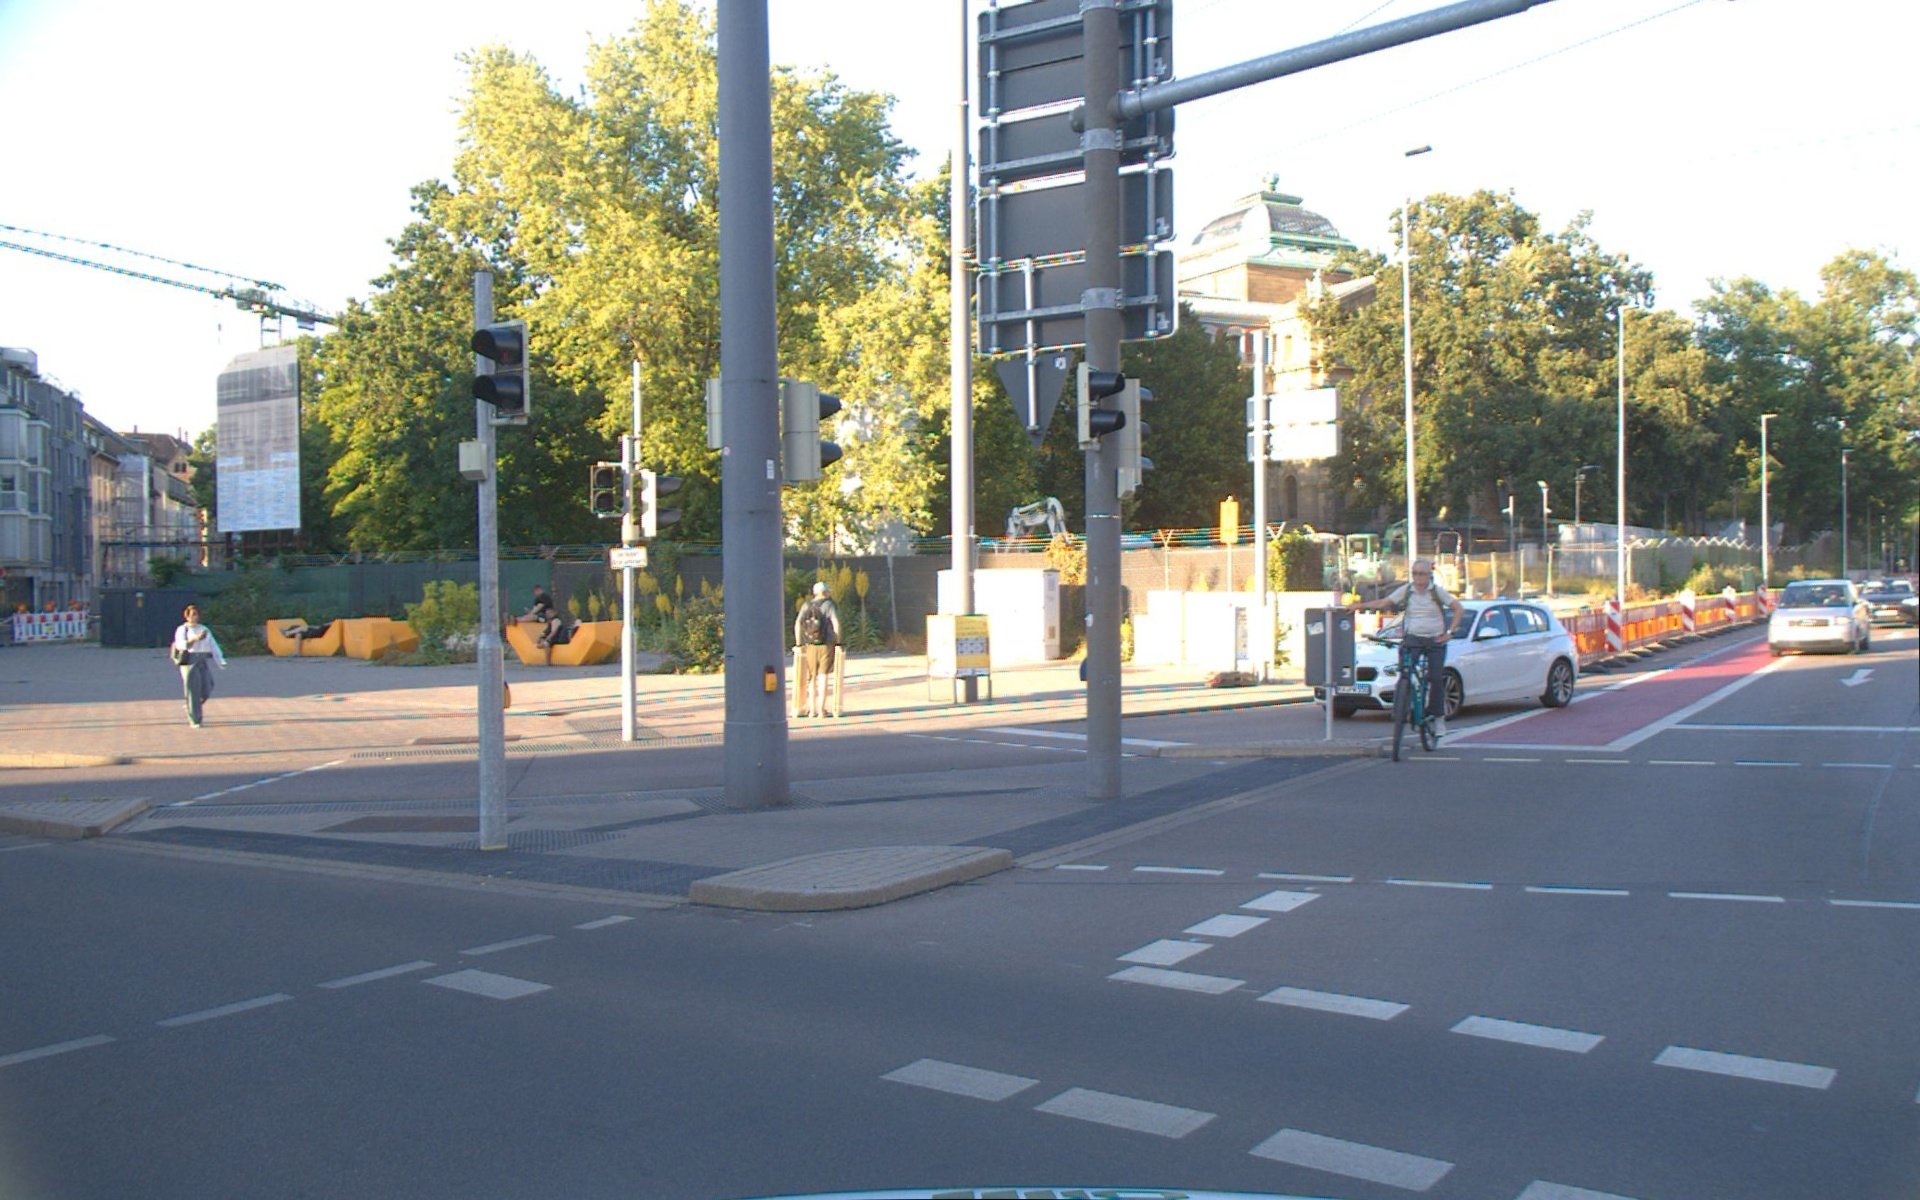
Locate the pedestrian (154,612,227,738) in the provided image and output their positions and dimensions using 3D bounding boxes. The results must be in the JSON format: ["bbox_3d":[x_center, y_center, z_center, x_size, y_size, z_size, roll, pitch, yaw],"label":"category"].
[{"bbox_3d":[-10.301,0.986,22.142,0.585,1.641,0.686,-1,0,40],"label":"pedestrian"}]

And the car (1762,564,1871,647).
[{"bbox_3d":[18.106,0.117,34.883,1.645,1.588,3.716,-3,-2,32],"label":"car"}]

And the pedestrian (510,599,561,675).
[{"bbox_3d":[-9.665,0.842,37.678,0.749,1.694,0.819,-1,0,38],"label":"pedestrian"}]

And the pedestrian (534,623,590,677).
[{"bbox_3d":[-8.966,1.117,37.229,0.720,1.178,0.986,-1,0,37],"label":"pedestrian"}]

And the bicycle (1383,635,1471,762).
[{"bbox_3d":[4.371,0.884,15.395,0.582,1.041,1.847,-1,1,22],"label":"bicycle"}]

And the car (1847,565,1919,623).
[{"bbox_3d":[27.927,-0.193,49.556,1.904,1.645,4.378,-1,0,34],"label":"car"}]

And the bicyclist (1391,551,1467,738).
[{"bbox_3d":[4.394,0.404,15.485,0.582,1.700,0.748,-1,0,22],"label":"bicyclist"}]

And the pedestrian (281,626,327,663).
[{"bbox_3d":[-16.700,1.134,42.109,0.957,0.909,0.562,-1,0,17],"label":"pedestrian"}]

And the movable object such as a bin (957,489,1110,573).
[{"bbox_3d":[1.918,-1.827,45.066,1.970,2.049,4.980,-1,0,-27],"label":"movable object such as a bin"}]

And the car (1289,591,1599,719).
[{"bbox_3d":[6.369,0.660,21.537,4.266,1.430,1.888,-1,-1,-41],"label":"car"}]

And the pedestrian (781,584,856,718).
[{"bbox_3d":[-1.925,0.672,22.411,0.924,1.766,0.820,-1,0,-10],"label":"pedestrian"}]
